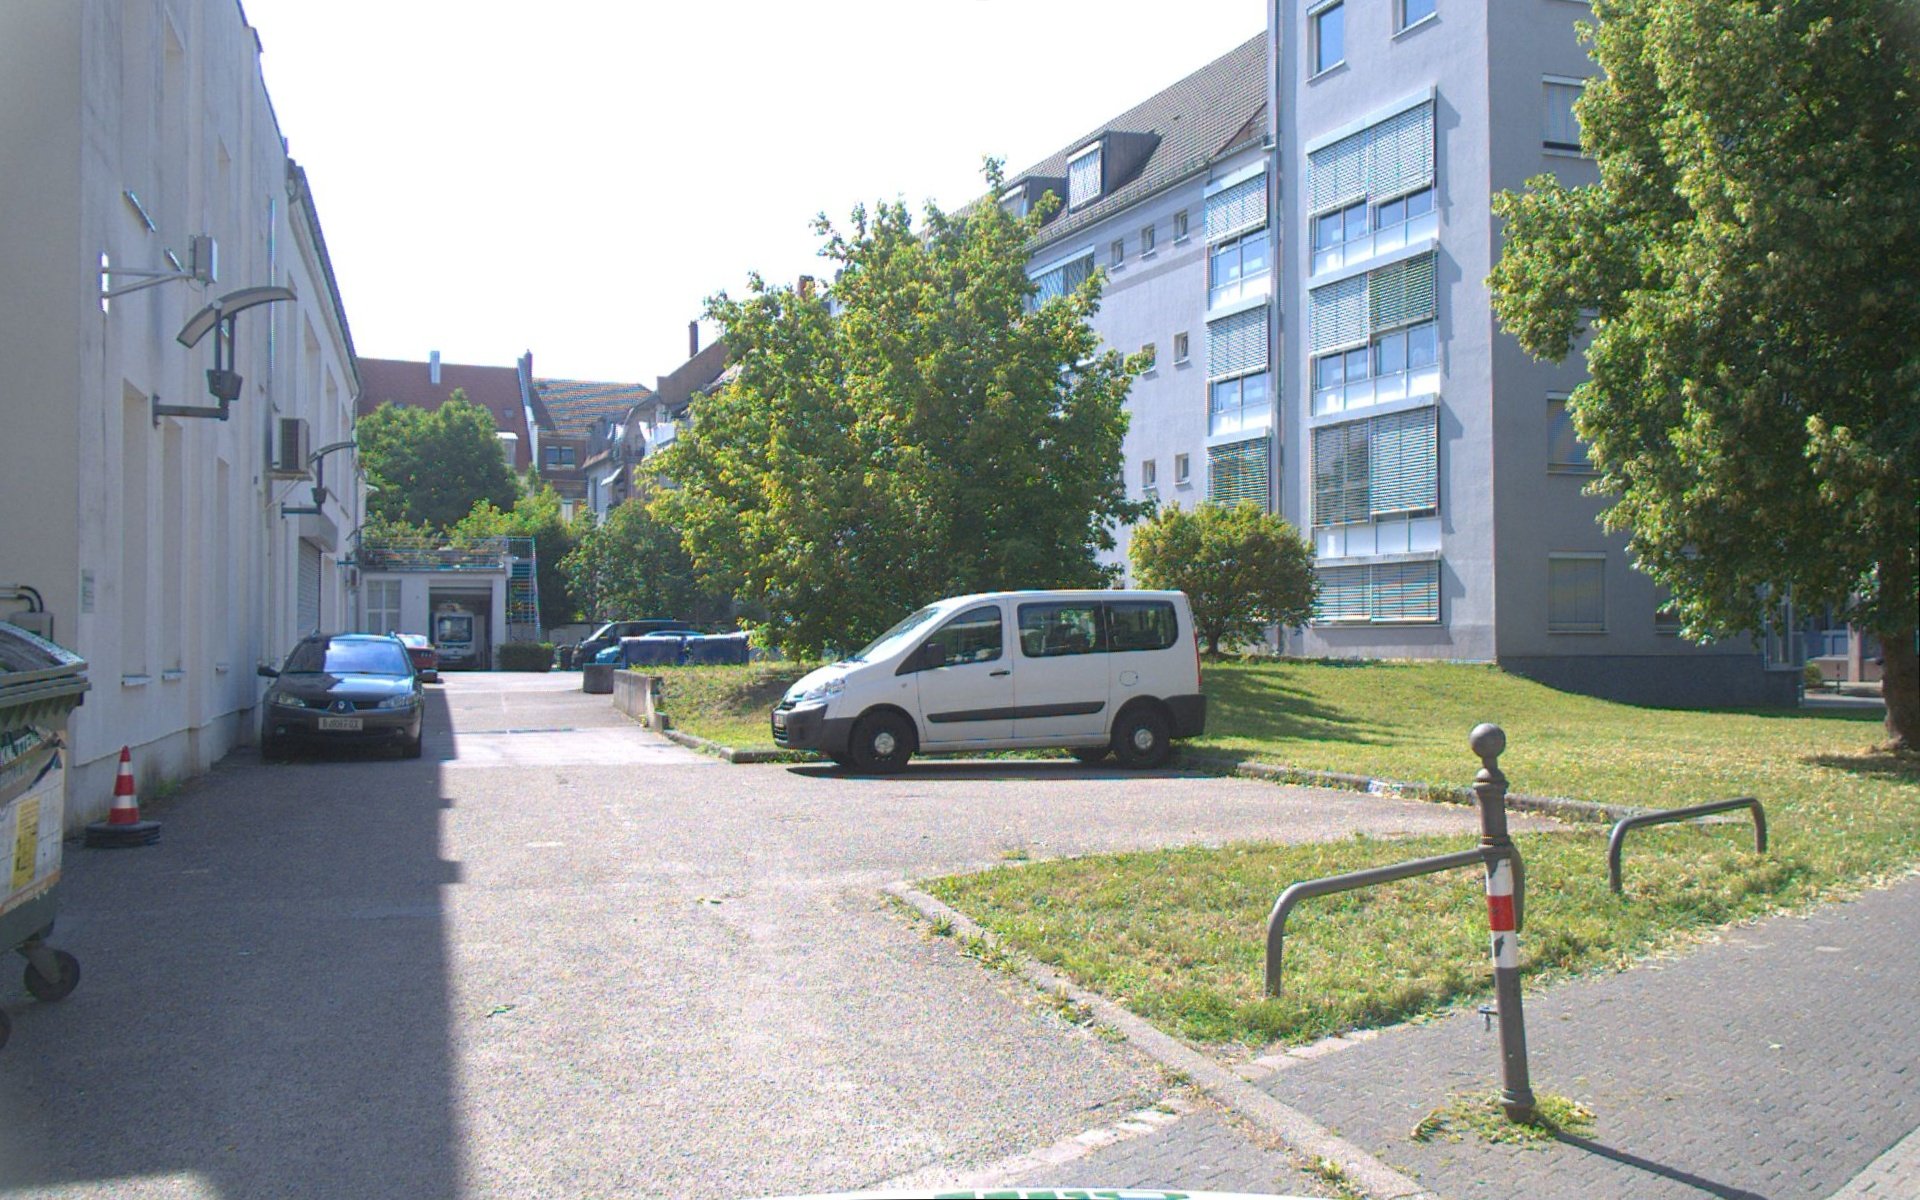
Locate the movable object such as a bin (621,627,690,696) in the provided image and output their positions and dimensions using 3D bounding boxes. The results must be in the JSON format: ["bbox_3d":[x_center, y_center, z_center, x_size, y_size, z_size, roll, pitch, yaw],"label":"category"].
[{"bbox_3d":[-6.367,1.275,34.536,1.229,1.379,1.121,0,-1,-21],"label":"movable object such as a bin"}]

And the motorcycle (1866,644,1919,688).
[{"bbox_3d":[27.801,1.943,48.826,2.023,1.268,0.627,0,-1,-17],"label":"motorcycle"}]

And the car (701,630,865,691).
[{"bbox_3d":[-4.626,1.554,43.118,3.930,1.452,1.800,-1,-1,-21],"label":"car"}]

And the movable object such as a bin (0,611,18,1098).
[{"bbox_3d":[-3.306,0.754,4.312,1.225,1.456,1.358,0,-1,-19],"label":"movable object such as a bin"}]

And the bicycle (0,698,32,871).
[{"bbox_3d":[-6.012,1.141,9.882,0.437,1.010,1.535,-1,0,-15],"label":"bicycle"}]

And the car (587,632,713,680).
[{"bbox_3d":[-11.212,1.989,59.765,4.170,1.559,1.987,-1,0,-22],"label":"car"}]

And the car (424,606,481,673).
[{"bbox_3d":[-21.430,1.702,69.789,2.140,2.653,6.700,-1,-2,-18],"label":"car"}]

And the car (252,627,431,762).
[{"bbox_3d":[-7.520,1.161,20.399,1.809,1.467,4.405,2,-3,-18],"label":"car"}]

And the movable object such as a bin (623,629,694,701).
[{"bbox_3d":[-5.956,1.284,32.675,1.227,1.342,1.137,-2,-2,-16],"label":"movable object such as a bin"}]

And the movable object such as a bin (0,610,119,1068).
[{"bbox_3d":[-3.724,0.775,5.758,1.225,1.456,1.342,0,-1,-19],"label":"movable object such as a bin"}]

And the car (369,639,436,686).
[{"bbox_3d":[-16.999,1.877,50.461,1.824,1.343,3.978,2,-2,-19],"label":"car"}]

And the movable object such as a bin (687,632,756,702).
[{"bbox_3d":[-4.799,1.331,33.246,1.227,1.364,1.137,-1,-1,-16],"label":"movable object such as a bin"}]

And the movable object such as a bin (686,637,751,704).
[{"bbox_3d":[-5.111,1.475,34.990,1.139,1.360,1.135,0,-1,-21],"label":"movable object such as a bin"}]

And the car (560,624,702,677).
[{"bbox_3d":[-12.468,1.884,62.758,4.901,1.798,2.074,-1,0,-31],"label":"car"}]

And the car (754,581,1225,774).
[{"bbox_3d":[0.296,0.807,18.567,4.944,1.967,1.990,0,-1,-17],"label":"car"}]
